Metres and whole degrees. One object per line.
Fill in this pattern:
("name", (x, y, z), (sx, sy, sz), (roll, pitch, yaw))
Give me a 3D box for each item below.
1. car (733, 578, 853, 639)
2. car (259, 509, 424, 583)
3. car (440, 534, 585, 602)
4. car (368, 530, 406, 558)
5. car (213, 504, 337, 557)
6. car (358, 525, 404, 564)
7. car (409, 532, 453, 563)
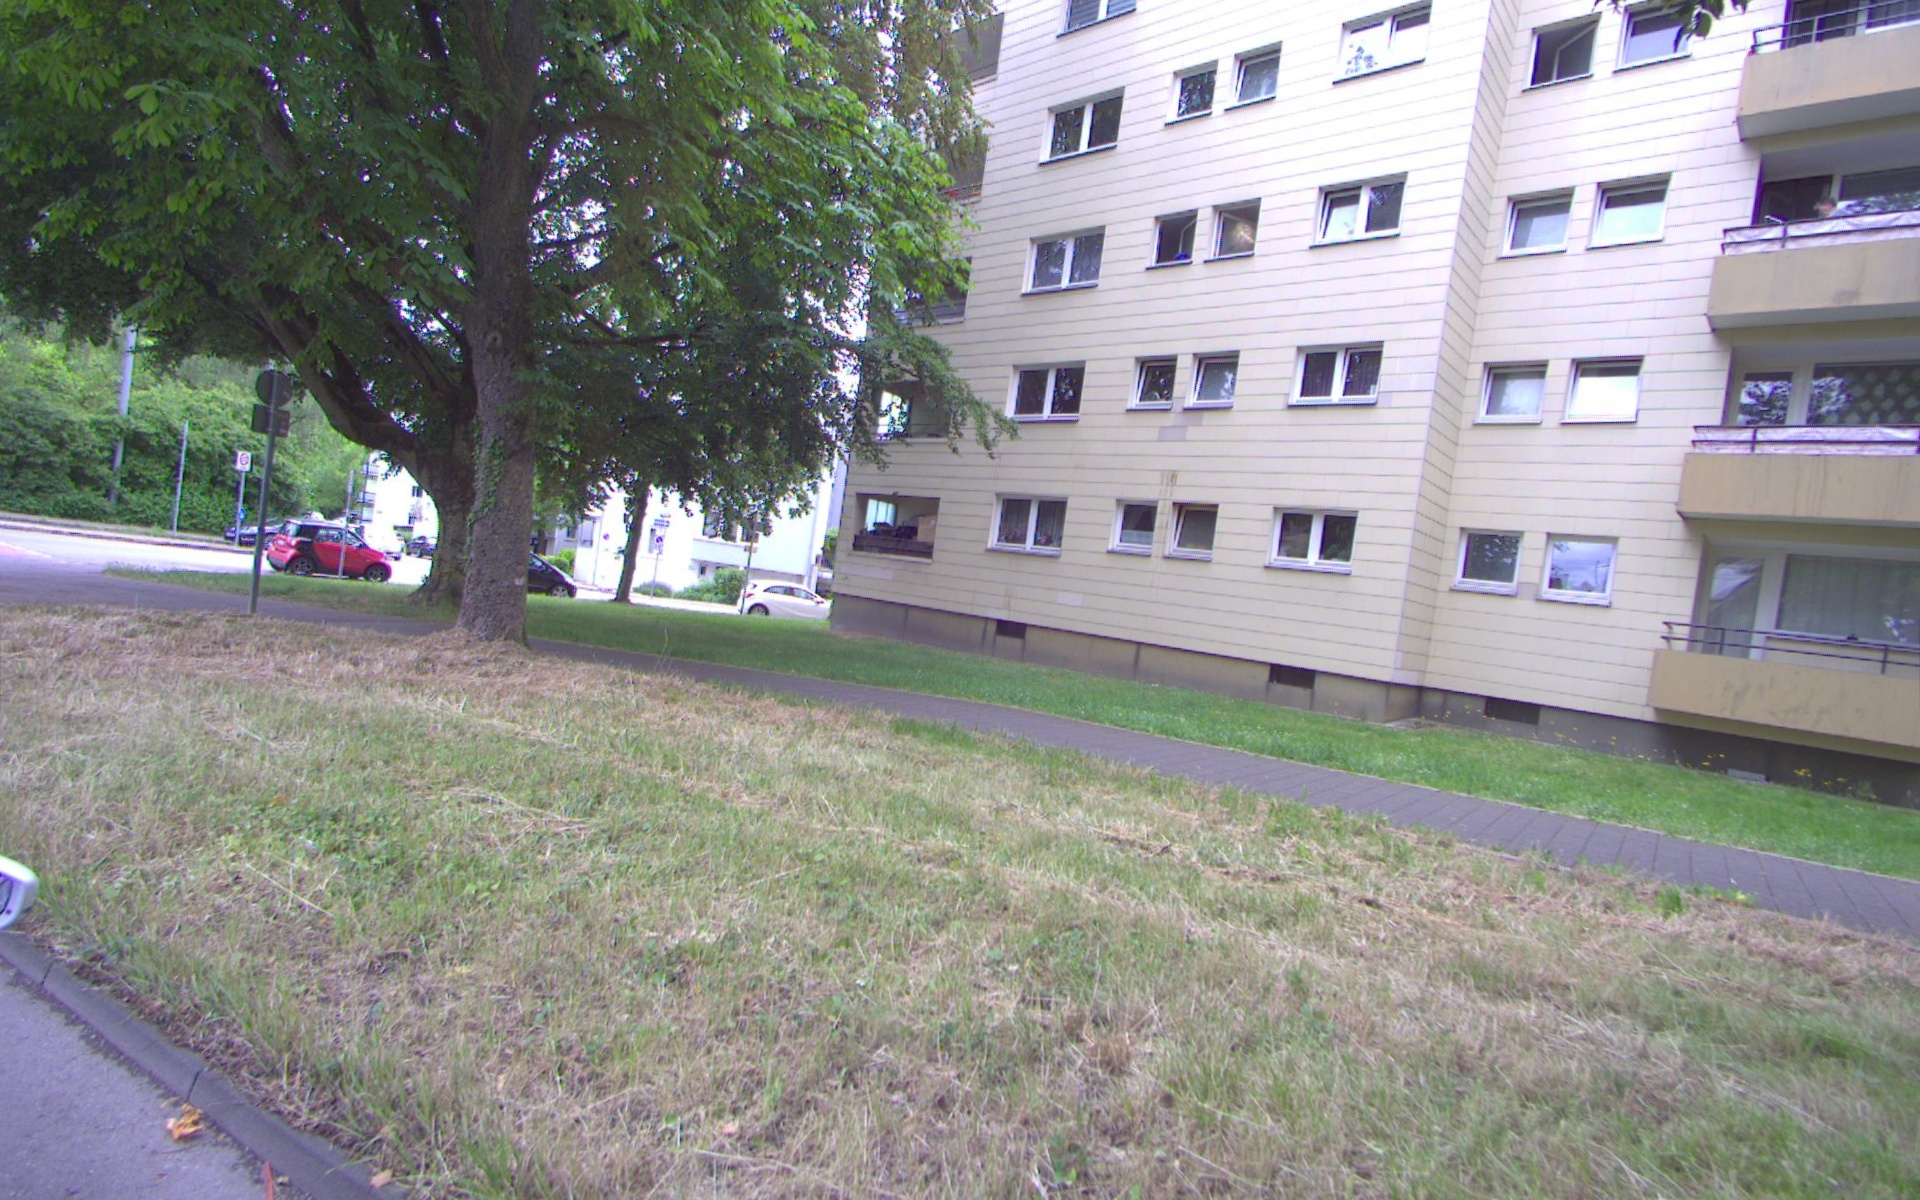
("car", (-5.809, 0.280, 34.896), (3.797, 1.631, 1.721), (6, 1, -18))
("car", (-17.402, -1.492, 28.422), (1.701, 1.631, 3.517), (8, 1, 36))
("car", (-13.956, -0.981, 31.429), (3.815, 1.631, 1.712), (6, 1, -33))
("car", (-41.151, -4.046, 72.204), (1.714, 1.631, 3.812), (6, 1, -38))
("car", (-26.378, -2.660, 38.820), (1.702, 1.550, 3.515), (8, 1, 37))
("car", (-27.942, -2.704, 48.556), (1.709, 1.631, 3.822), (6, 1, -30))
("car", (-33.316, -3.330, 63.346), (1.714, 1.631, 3.812), (6, 1, -38))
